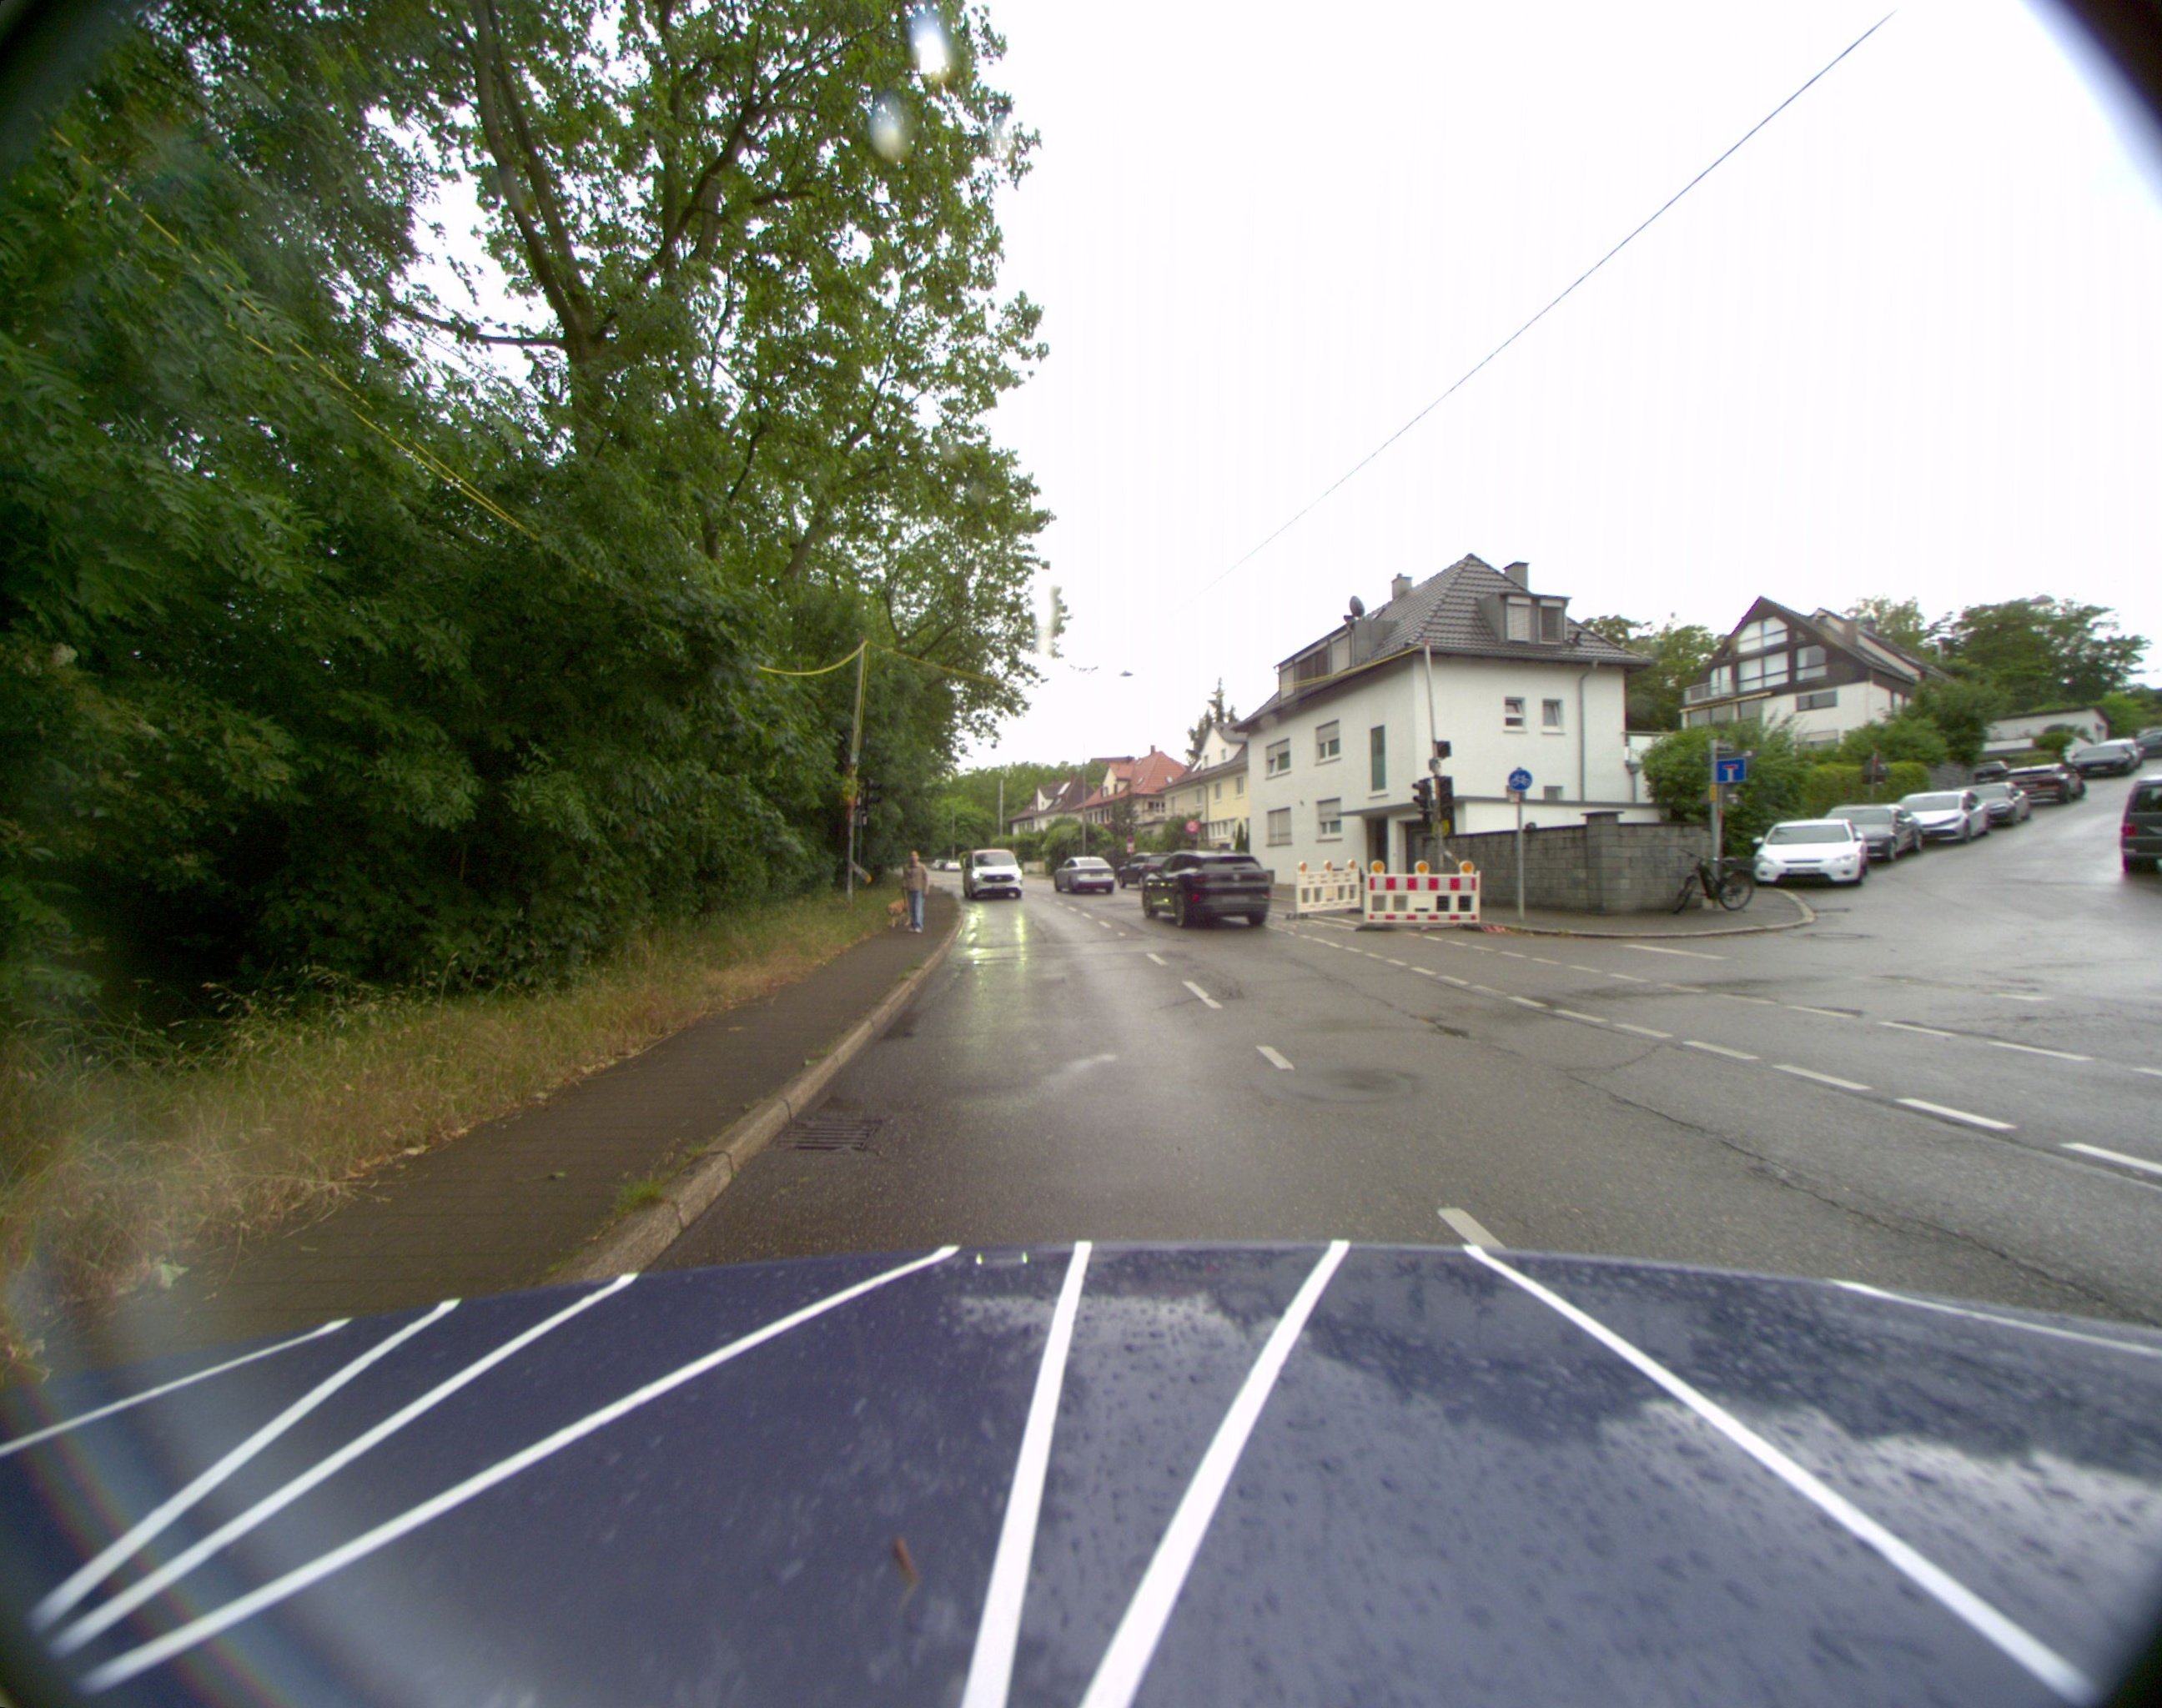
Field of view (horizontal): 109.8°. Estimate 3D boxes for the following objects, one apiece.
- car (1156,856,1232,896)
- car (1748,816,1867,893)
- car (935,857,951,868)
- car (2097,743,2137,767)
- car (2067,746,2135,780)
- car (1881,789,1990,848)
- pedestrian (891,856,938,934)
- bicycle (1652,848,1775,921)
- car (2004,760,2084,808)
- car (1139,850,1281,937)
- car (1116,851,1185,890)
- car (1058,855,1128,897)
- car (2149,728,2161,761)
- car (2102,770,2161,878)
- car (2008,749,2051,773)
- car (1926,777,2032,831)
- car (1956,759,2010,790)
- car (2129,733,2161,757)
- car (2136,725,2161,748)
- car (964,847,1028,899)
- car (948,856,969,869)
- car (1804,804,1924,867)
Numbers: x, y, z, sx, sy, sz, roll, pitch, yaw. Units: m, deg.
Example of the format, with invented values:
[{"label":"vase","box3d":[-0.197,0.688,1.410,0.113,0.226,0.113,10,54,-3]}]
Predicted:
[{"label":"car","box3d":[4.377,0.820,29.897,1.787,1.423,3.844,-2,0,-10]},{"label":"car","box3d":[17.772,-0.041,18.529,4.126,1.455,1.849,-7,4,-43]},{"label":"car","box3d":[-18.748,1.124,103.003,1.691,1.419,3.770,-2,0,-17]},{"label":"car","box3d":[59.834,-5.720,43.890,2.988,1.191,1.305,-6,3,-35]},{"label":"car","box3d":[54.812,-4.859,40.833,4.034,1.511,1.786,-2,0,-31]},{"label":"car","box3d":[27.265,-1.142,24.223,3.951,1.462,1.755,-7,3,-33]},{"label":"pedestrian","box3d":[-3.254,0.781,14.875,0.735,1.490,0.785,1,1,-1]},{"label":"bicycle","box3d":[11.582,0.542,13.927,2.006,1.232,0.510,-2,3,-8]},{"label":"car","box3d":[40.715,-2.968,32.104,4.004,1.617,1.638,-8,4,-32]},{"label":"car","box3d":[2.710,0.757,16.995,1.873,1.612,4.161,-2,1,-9]},{"label":"car","box3d":[3.125,0.733,35.025,1.798,1.630,4.150,-1,0,-15]},{"label":"car","box3d":[0.402,0.855,32.064,1.859,1.518,4.814,-2,1,-12]},{"label":"car","box3d":[72.463,-7.421,48.974,2.003,2.000,3.993,-2,-4,-32]},{"label":"car","box3d":[23.878,-0.742,16.253,4.497,2.003,1.996,-7,3,-31]},{"label":"car","box3d":[57.236,-5.617,45.857,3.656,1.205,1.577,-7,3,-38]},{"label":"car","box3d":[32.323,-1.819,27.325,4.111,1.430,1.921,-9,4,-33]},{"label":"car","box3d":[52.864,-4.629,44.509,4.020,1.545,1.812,-3,1,-37]},{"label":"car","box3d":[68.322,-6.912,47.689,1.286,1.310,2.945,-3,1,-36]},{"label":"car","box3d":[81.117,-8.838,55.951,1.754,1.508,3.961,-3,1,-35]},{"label":"car","box3d":[-3.616,0.740,31.400,2.104,1.908,5.085,-2,0,-12]},{"label":"car","box3d":[-15.240,1.065,94.167,2.071,1.477,4.556,-2,0,-16]},{"label":"car","box3d":[22.459,-0.549,21.750,3.910,1.380,1.719,-7,3,-34]}]
